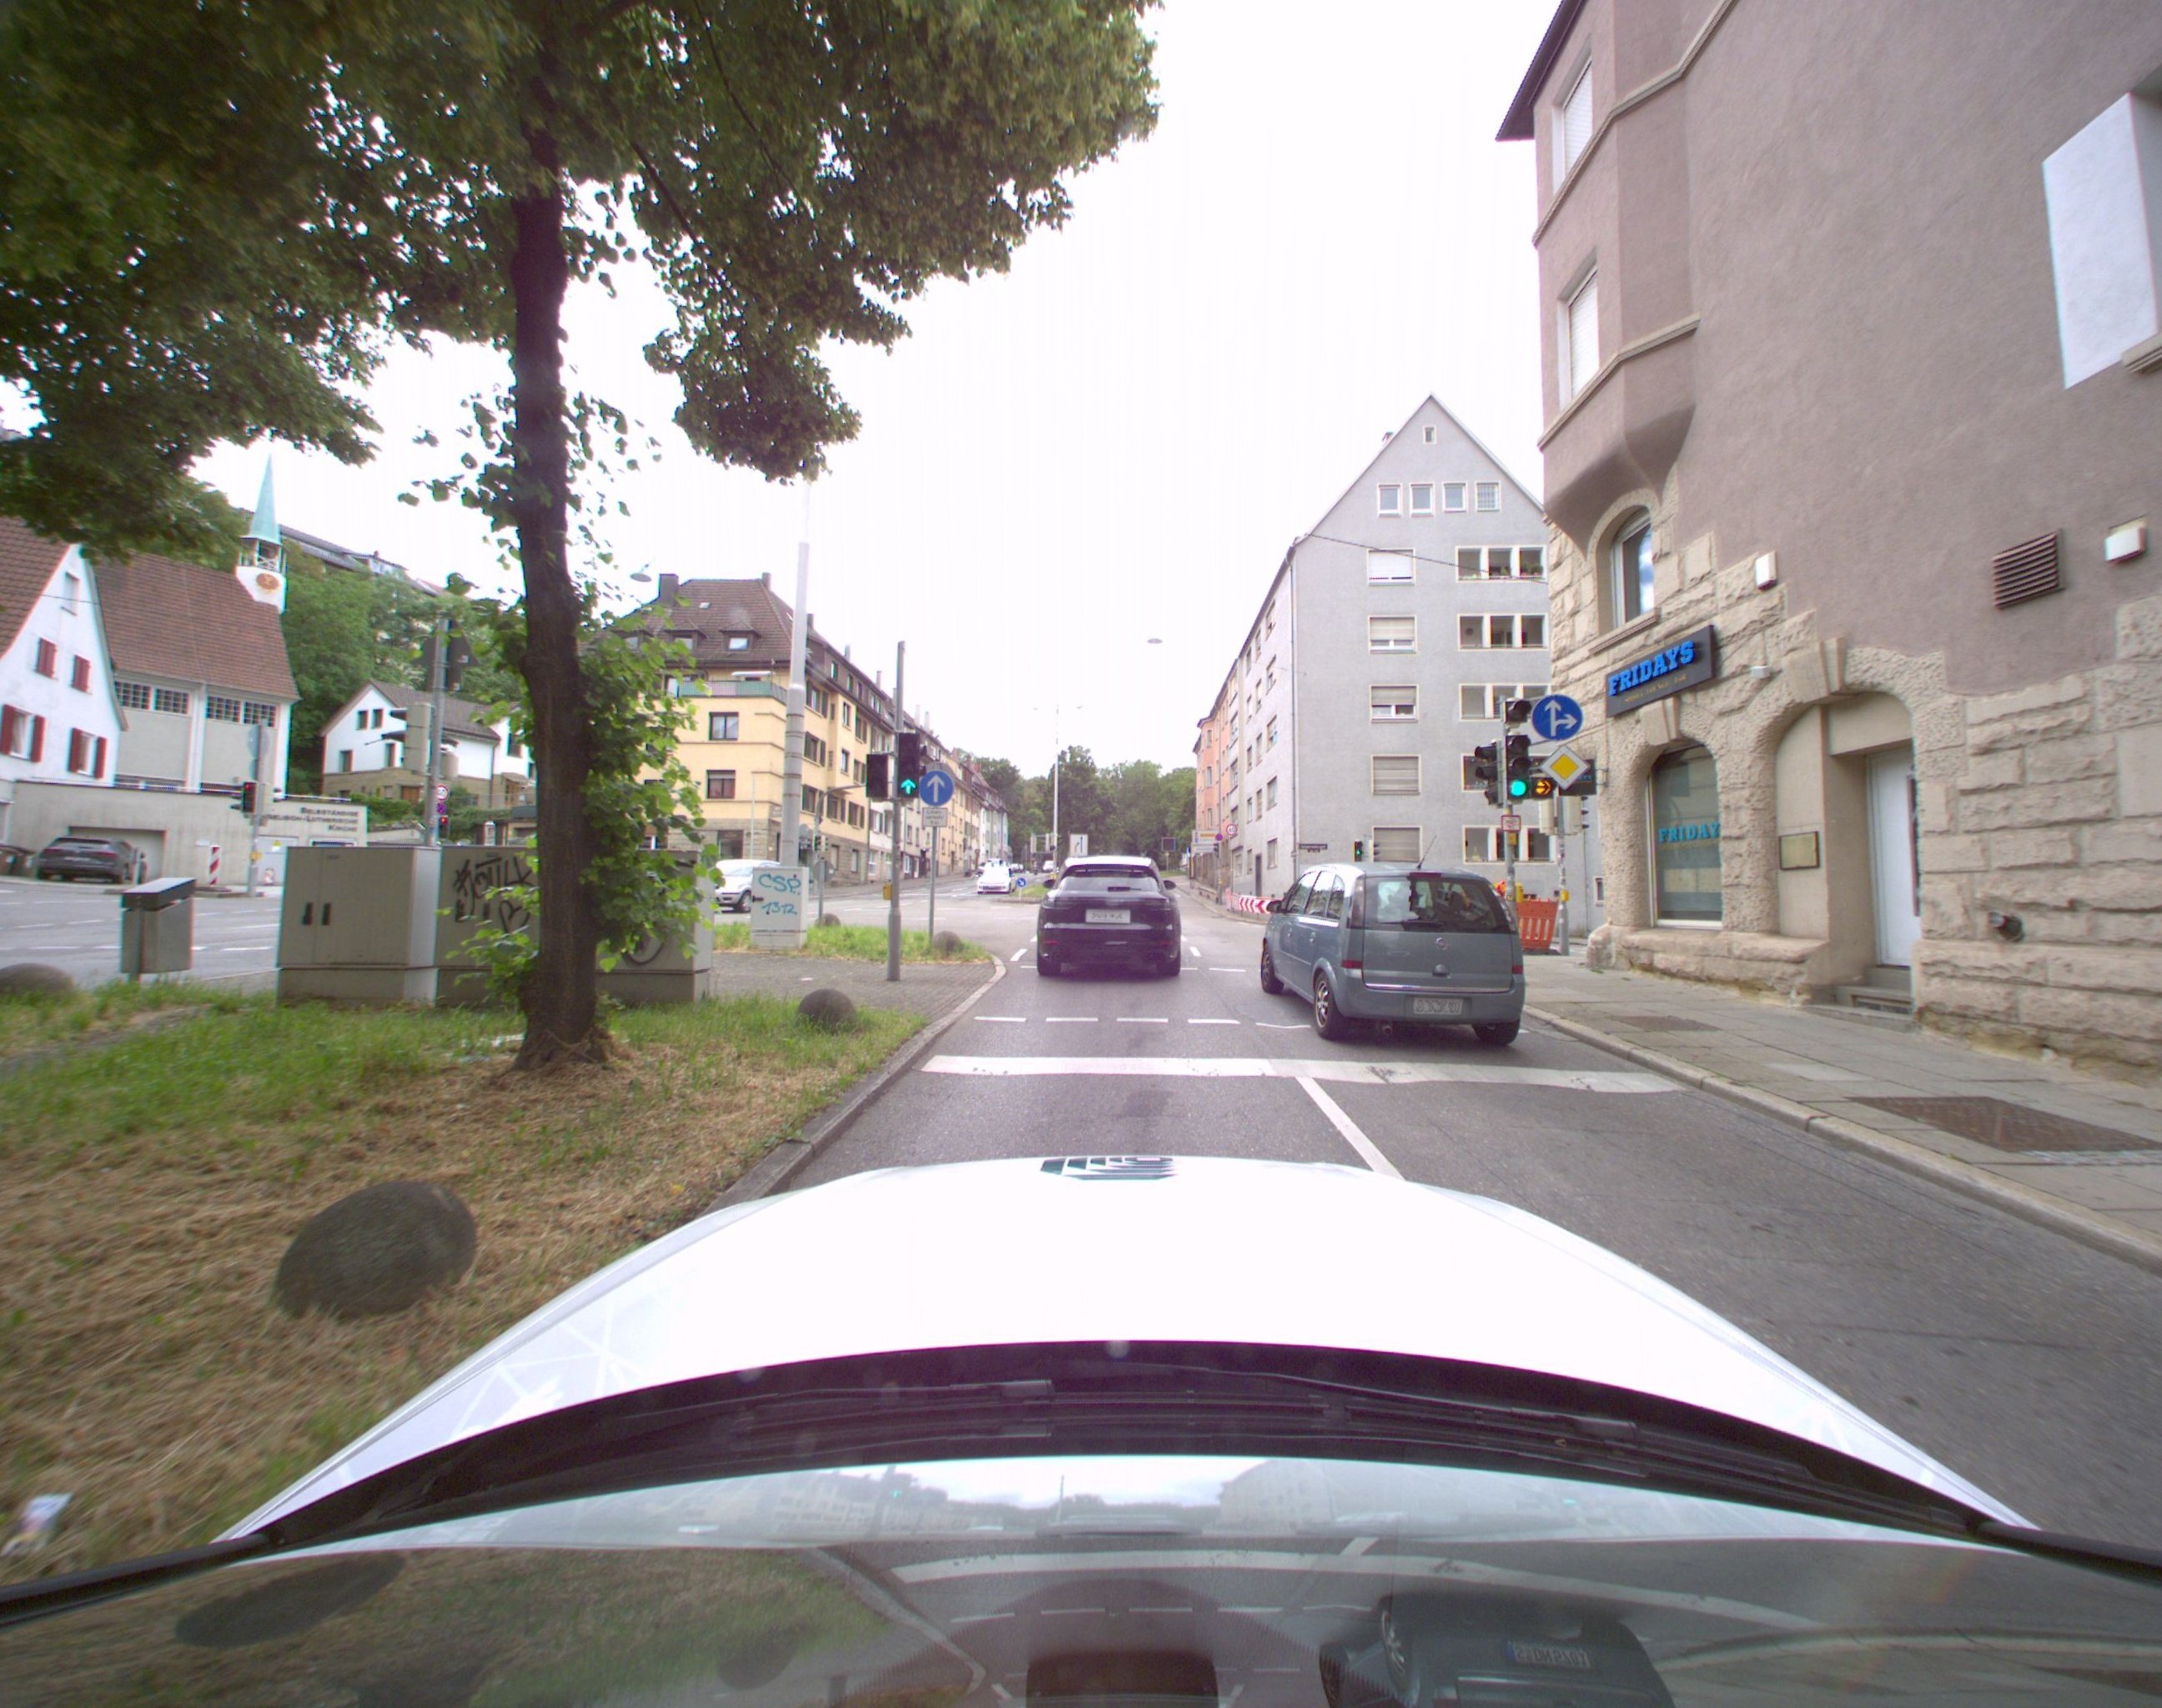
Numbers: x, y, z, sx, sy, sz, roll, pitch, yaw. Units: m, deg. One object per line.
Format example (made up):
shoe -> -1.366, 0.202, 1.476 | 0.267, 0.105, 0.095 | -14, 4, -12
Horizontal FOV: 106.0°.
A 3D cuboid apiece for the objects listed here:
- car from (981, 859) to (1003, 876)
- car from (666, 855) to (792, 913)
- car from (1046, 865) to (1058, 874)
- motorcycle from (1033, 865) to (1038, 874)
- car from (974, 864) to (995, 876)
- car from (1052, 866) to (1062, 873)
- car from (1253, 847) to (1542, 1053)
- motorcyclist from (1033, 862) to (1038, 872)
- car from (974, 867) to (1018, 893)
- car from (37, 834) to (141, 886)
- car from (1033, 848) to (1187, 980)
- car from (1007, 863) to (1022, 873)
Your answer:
car -> -10.845, 1.609, 99.640 | 2.008, 2.045, 4.669 | 0, -1, 2
car -> -9.804, 0.835, 23.013 | 1.611, 1.480, 3.828 | 0, -2, 5
car -> -4.268, 2.310, 119.602 | 1.545, 1.257, 3.664 | 0, -1, 2
motorcycle -> -5.280, 1.836, 94.711 | 0.509, 1.040, 1.390 | 0, -1, 2
car -> -11.090, 1.850, 93.772 | 1.732, 1.387, 3.815 | 0, -1, 2
car -> -4.357, 2.798, 148.740 | 1.483, 1.376, 3.246 | 0, -1, 2
car -> 2.976, 0.798, 8.484 | 1.622, 1.598, 3.670 | 3, -1, 2
motorcyclist -> -5.280, 1.503, 94.722 | 0.510, 1.226, 0.467 | 0, -1, 2
car -> -4.664, 1.423, 45.393 | 1.854, 1.388, 4.096 | 0, -1, 2
car -> -32.260, 0.182, 26.474 | 3.018, 1.406, 1.681 | 3, -4, 33
car -> 0.428, 0.789, 12.408 | 1.948, 1.674, 4.001 | -1, -1, 2
car -> -9.807, 2.061, 120.352 | 1.682, 1.538, 3.815 | 0, -1, 2
